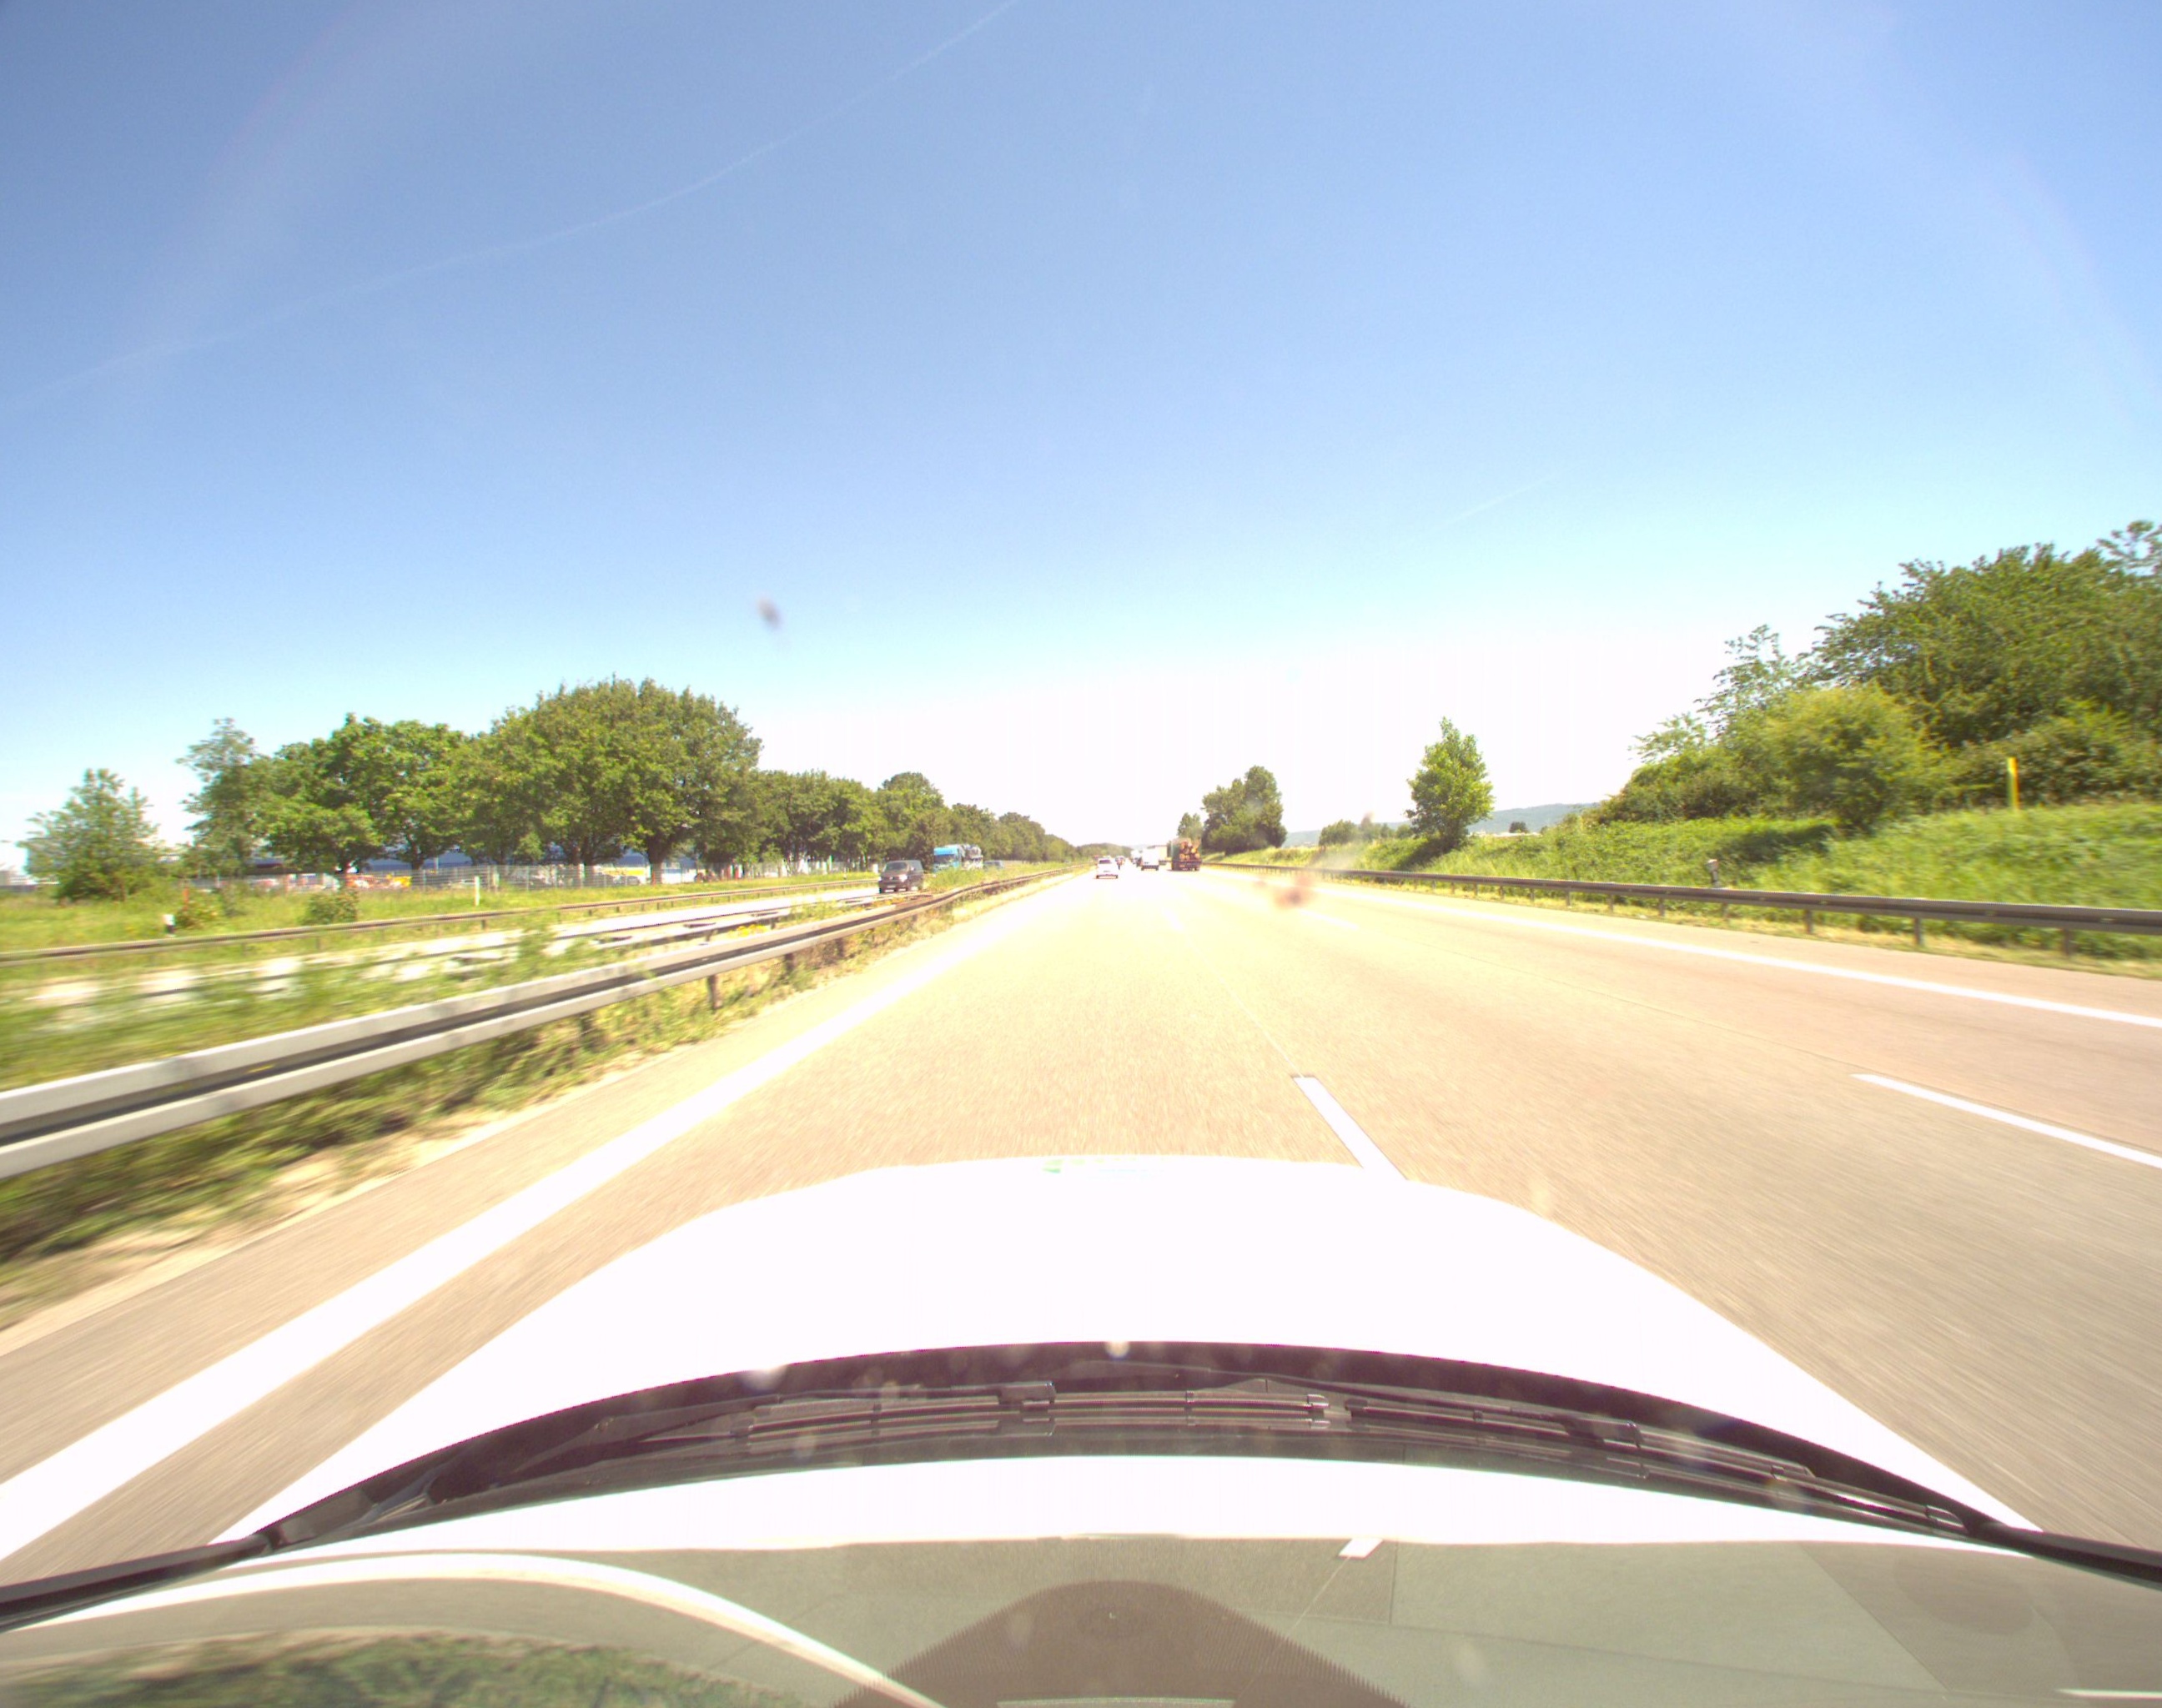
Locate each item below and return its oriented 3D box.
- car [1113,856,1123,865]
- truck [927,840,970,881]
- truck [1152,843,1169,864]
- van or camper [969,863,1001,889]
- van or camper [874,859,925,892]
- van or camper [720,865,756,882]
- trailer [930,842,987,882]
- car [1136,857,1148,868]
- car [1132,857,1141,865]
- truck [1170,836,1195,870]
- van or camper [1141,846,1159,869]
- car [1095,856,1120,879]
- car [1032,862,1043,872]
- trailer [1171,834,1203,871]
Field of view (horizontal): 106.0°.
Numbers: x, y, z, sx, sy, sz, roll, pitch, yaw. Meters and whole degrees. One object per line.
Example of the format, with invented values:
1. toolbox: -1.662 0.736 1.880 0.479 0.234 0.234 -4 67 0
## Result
1. car: 7.040 1.312 155.362 1.850 1.652 4.001 -1 -1 2
2. truck: -14.209 0.694 87.964 2.867 3.975 7.376 -5 -1 2
3. truck: 16.539 0.036 170.116 3.065 4.209 16.860 0 0 4
4. van or camper: -6.919 1.549 59.001 1.704 1.769 4.002 0 0 2
5. van or camper: -11.356 1.317 51.336 1.986 1.869 4.458 -3 -1 2
6. van or camper: -56.511 3.247 134.512 2.348 2.552 7.728 -3 -1 2
7. trailer: -13.925 0.902 94.538 2.867 3.978 17.484 -5 -1 2
8. car: 9.813 1.408 131.142 1.850 1.652 4.001 -1 -1 2
9. car: 12.257 1.521 180.241 1.850 1.652 4.001 -1 -1 2
10. truck: 12.612 -0.107 101.937 2.658 3.994 6.641 -1 0 3
11. van or camper: 8.233 0.411 97.559 2.049 2.622 5.990 -1 -1 3
12. car: 1.988 1.018 62.035 1.850 1.652 4.001 0 0 2
13. car: -8.956 2.658 167.614 1.985 2.014 4.275 0 -1 3
14. trailer: 12.191 -0.123 94.821 2.642 3.958 13.648 -1 0 3
